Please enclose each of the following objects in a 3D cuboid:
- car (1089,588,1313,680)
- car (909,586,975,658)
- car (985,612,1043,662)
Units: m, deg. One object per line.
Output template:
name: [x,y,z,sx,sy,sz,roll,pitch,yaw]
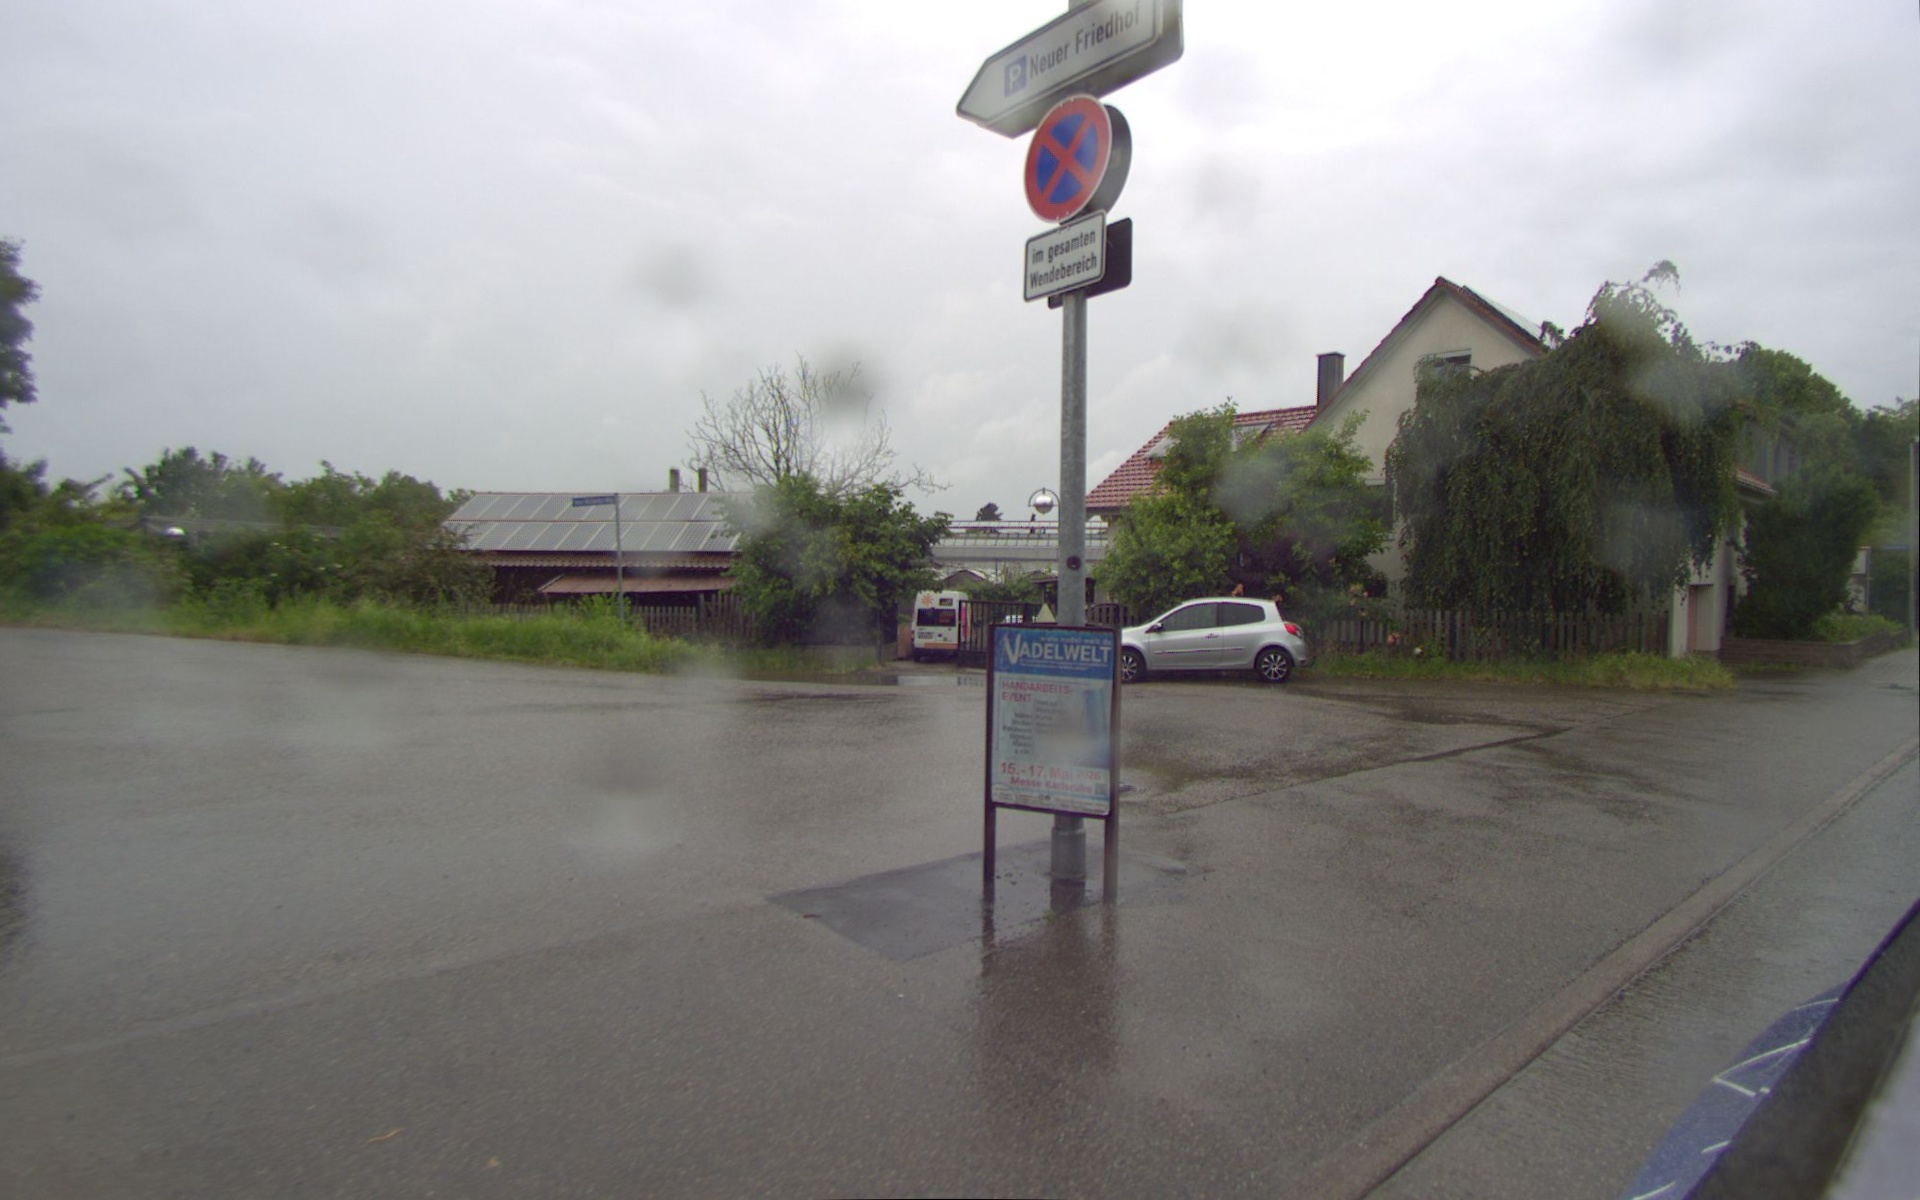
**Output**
car: [4.364,0.579,18.442,3.803,1.551,1.710,0,0,17]
car: [-0.625,0.768,38.470,1.966,2.543,3.993,2,1,6]
car: [2.085,1.349,38.089,1.901,1.705,3.991,0,0,8]
